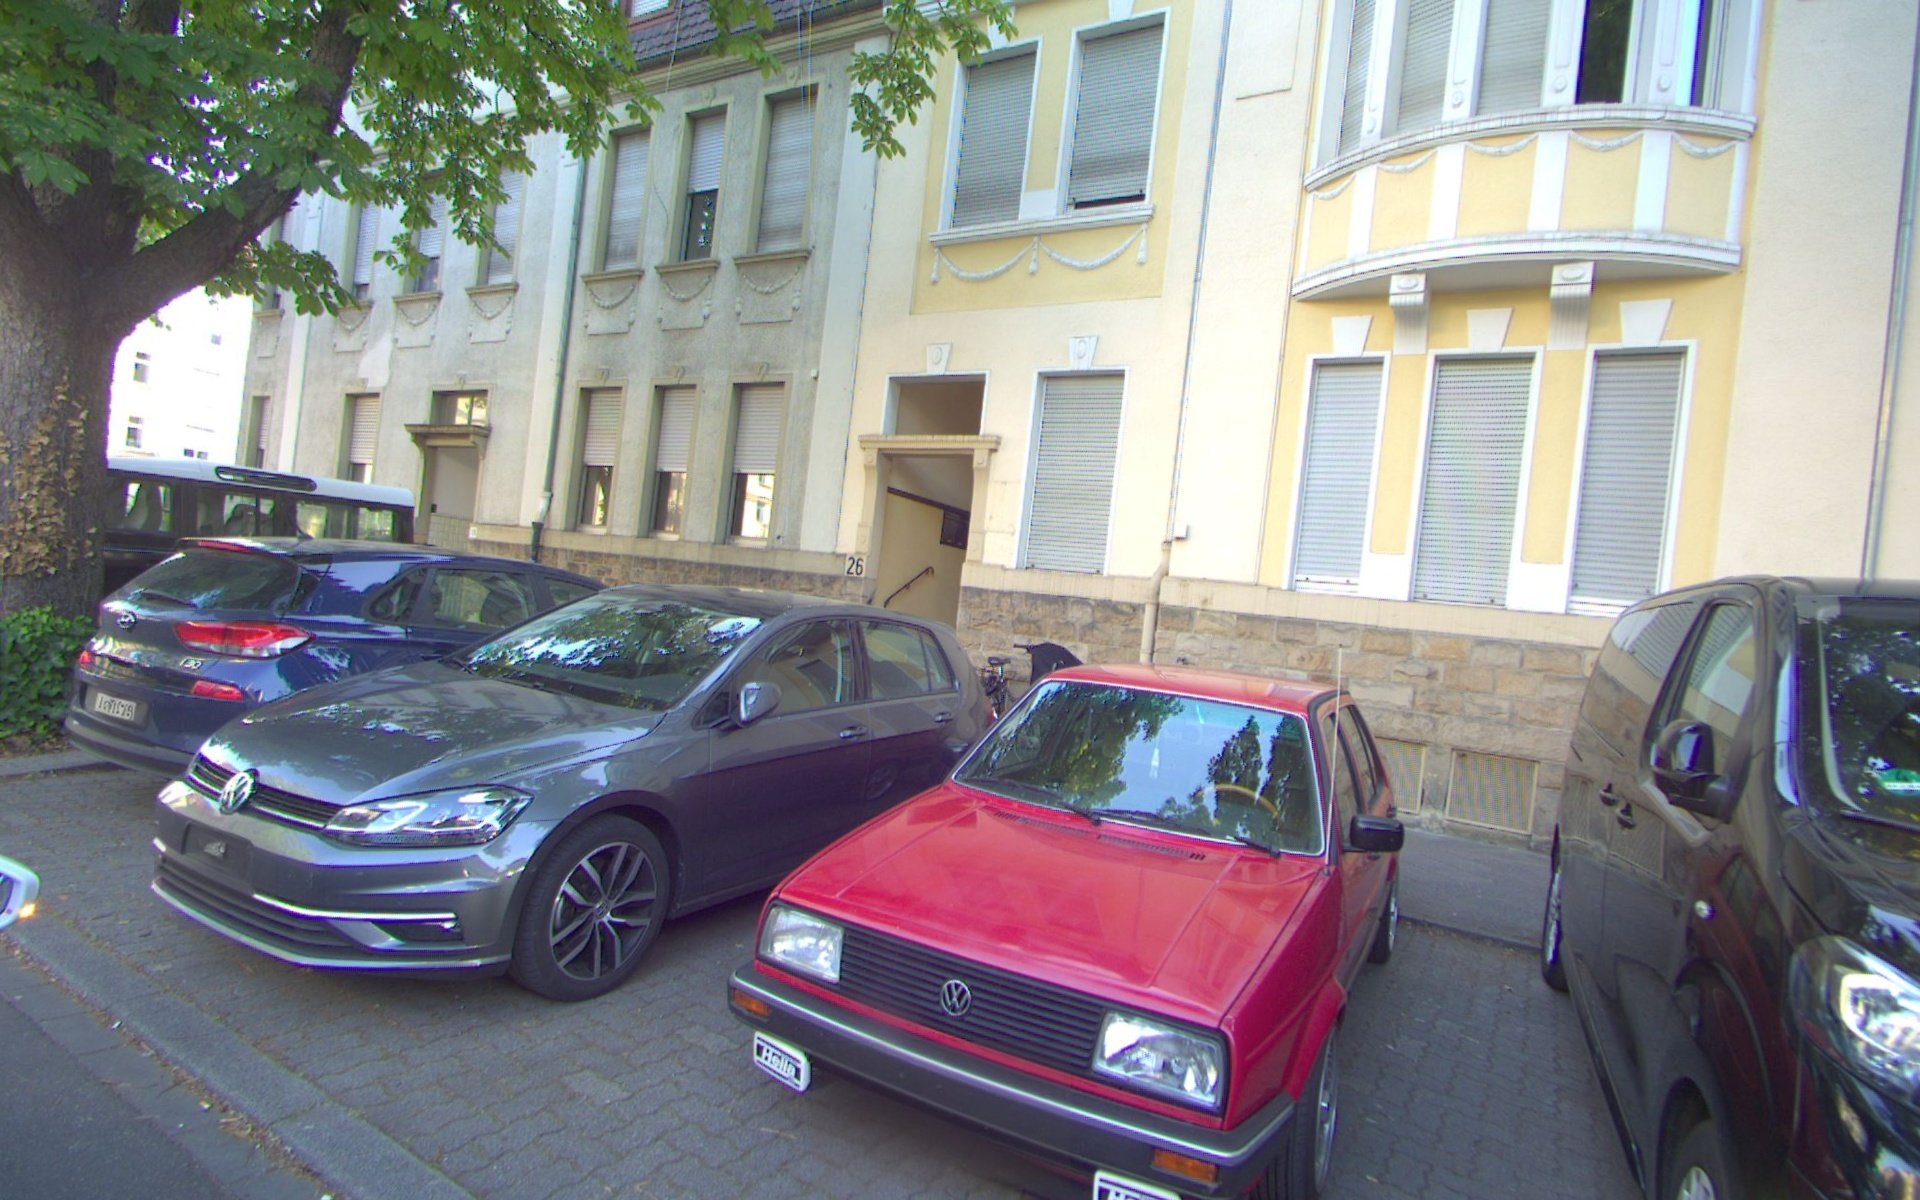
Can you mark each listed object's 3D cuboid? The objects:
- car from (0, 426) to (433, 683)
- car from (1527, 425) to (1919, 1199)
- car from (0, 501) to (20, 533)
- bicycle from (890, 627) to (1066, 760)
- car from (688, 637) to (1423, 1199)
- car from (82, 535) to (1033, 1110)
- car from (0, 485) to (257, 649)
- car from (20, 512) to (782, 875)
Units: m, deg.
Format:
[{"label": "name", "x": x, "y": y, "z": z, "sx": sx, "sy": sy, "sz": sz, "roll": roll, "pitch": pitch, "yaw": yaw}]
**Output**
[{"label": "car", "x": -7.582, "y": -0.373, "z": 9.261, "sx": 1.762, "sy": 1.981, "sz": 4.496, "roll": 7, "pitch": 1, "yaw": 29}, {"label": "car", "x": 2.926, "y": 0.904, "z": 2.912, "sx": 1.848, "sy": 1.847, "sz": 4.829, "roll": 6, "pitch": 0, "yaw": 27}, {"label": "car", "x": -36.339, "y": -3.229, "z": 36.189, "sx": 1.357, "sy": 1.081, "sz": 3.370, "roll": 7, "pitch": -1, "yaw": 30}, {"label": "bicycle", "x": 0.163, "y": 0.923, "z": 10.303, "sx": 1.675, "sy": 1.090, "sz": 0.500, "roll": 7, "pitch": 2, "yaw": 32}, {"label": "car", "x": 0.883, "y": 0.927, "z": 4.192, "sx": 1.532, "sy": 1.337, "sz": 3.916, "roll": 6, "pitch": 0, "yaw": 29}, {"label": "car", "x": -1.278, "y": 0.660, "z": 4.811, "sx": 1.600, "sy": 1.440, "sz": 4.054, "roll": 6, "pitch": 0, "yaw": 29}, {"label": "car", "x": -9.997, "y": -0.386, "z": 10.858, "sx": 1.680, "sy": 1.606, "sz": 3.489, "roll": 7, "pitch": 0, "yaw": 26}, {"label": "car", "x": -2.967, "y": 0.442, "z": 6.185, "sx": 1.601, "sy": 1.440, "sz": 3.754, "roll": 6, "pitch": 0, "yaw": 29}]
